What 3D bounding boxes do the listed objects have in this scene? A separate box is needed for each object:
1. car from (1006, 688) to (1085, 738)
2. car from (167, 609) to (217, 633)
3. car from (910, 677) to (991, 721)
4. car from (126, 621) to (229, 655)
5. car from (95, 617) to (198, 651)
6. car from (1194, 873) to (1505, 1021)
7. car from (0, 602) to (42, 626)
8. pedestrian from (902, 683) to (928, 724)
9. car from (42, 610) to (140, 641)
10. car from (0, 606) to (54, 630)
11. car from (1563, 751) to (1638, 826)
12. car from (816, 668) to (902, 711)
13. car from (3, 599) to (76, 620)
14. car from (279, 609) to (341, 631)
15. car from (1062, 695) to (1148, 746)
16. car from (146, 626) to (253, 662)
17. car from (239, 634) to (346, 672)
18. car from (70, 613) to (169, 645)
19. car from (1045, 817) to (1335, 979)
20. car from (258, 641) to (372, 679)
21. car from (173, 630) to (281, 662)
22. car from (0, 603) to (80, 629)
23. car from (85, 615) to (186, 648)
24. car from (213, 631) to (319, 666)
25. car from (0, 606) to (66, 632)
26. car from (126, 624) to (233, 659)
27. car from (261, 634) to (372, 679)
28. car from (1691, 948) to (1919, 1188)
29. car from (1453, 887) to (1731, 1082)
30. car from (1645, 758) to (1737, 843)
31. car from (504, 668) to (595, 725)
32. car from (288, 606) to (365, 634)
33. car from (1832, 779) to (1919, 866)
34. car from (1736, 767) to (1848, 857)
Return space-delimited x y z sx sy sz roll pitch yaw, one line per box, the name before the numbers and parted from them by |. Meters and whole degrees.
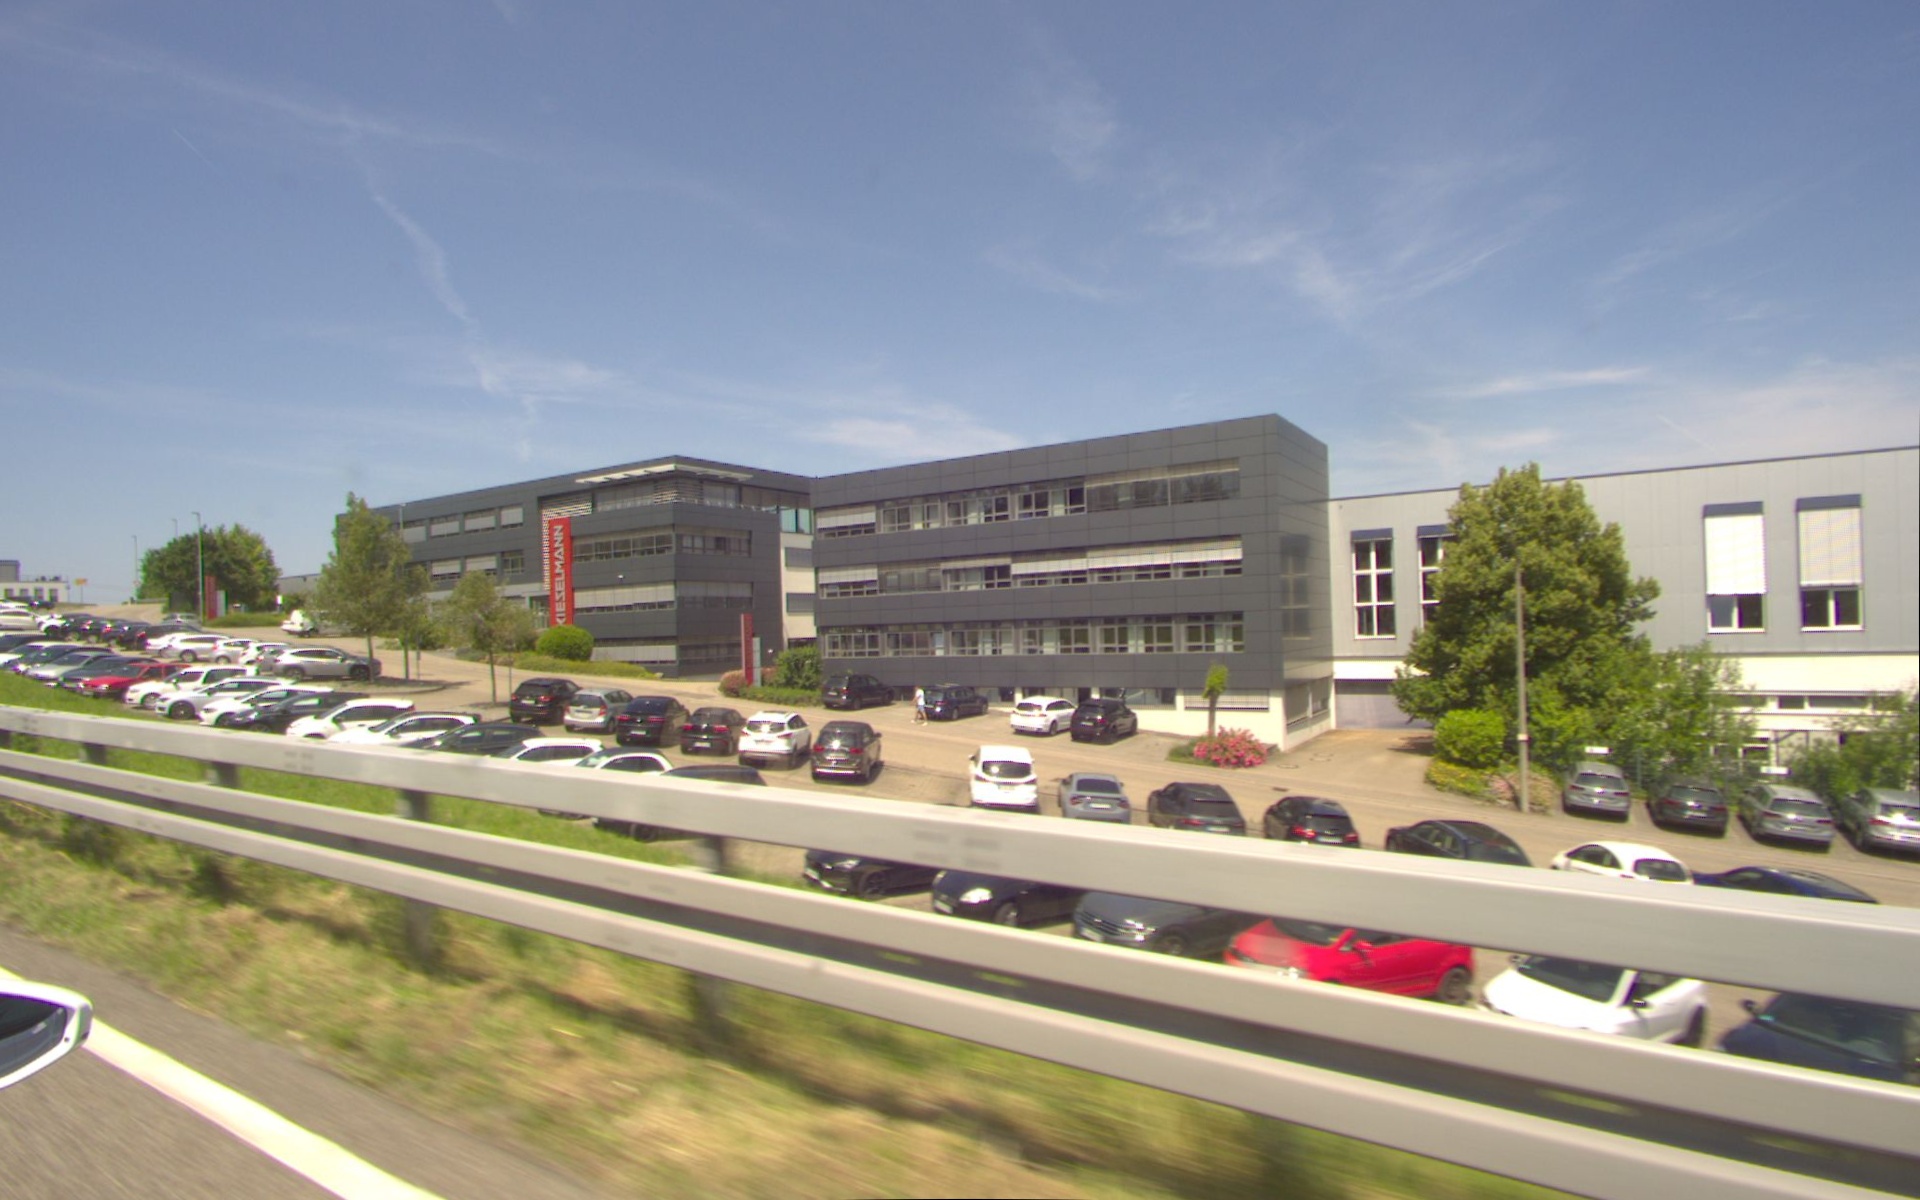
car | 3.827 4.907 44.058 1.792 1.593 4.568 3 1 28
car | -57.487 1.603 74.913 3.946 1.682 1.803 -1 -3 35
car | -0.401 4.608 47.117 1.792 1.593 4.568 3 1 28
car | -46.903 2.306 60.171 4.526 1.648 1.811 7 -4 -30
car | -49.816 2.094 61.444 4.526 1.648 1.811 7 -4 -30
car | 6.091 5.300 15.674 4.343 1.577 1.980 6 -4 -23
car | -72.916 0.996 75.951 4.533 1.649 1.807 5 -2 -36
pedestrian | -1.968 4.575 44.266 0.816 1.744 0.631 2 -4 34
car | -57.587 1.725 66.458 4.526 1.648 1.811 7 -4 -30
car | -70.375 1.323 74.261 4.531 1.650 1.808 2 -1 -36
car | 20.787 6.048 32.644 1.793 1.593 4.566 2 0 30
car | -4.895 4.330 49.207 1.793 1.670 4.564 3 1 31
car | -84.143 0.869 91.574 4.512 1.649 1.816 2 -3 -22
car | -50.258 1.548 77.500 1.660 1.609 3.653 2 0 34
car | 6.233 5.054 42.506 1.795 1.593 4.561 3 1 34
car | -42.985 2.483 56.743 4.526 1.648 1.811 7 -4 -30
car | -34.703 2.763 52.200 4.525 1.651 1.808 3 3 -32
car | -54.406 1.909 64.939 4.526 1.648 1.811 7 -4 -30
car | 4.003 4.953 17.226 4.665 2.037 2.068 7 -4 -31
car | -30.862 2.852 48.064 4.524 1.651 1.809 2 2 -32
car | -40.211 2.518 55.084 4.517 1.541 1.811 2 2 -26
car | -65.627 1.159 71.067 4.532 1.649 1.808 4 -3 -36
car | -52.092 2.005 63.372 4.526 1.648 1.811 7 -4 -30
car | -37.212 2.571 53.824 4.522 1.499 1.809 -1 4 -32
car | -67.823 1.346 72.387 4.533 1.649 1.808 5 -3 -36
car | -45.292 2.437 58.232 4.526 1.648 1.811 7 -4 -30
car | -32.321 2.875 50.474 4.528 1.650 1.808 7 4 -31
car | 11.003 5.600 12.499 4.362 1.561 1.777 7 -5 -36
car | 9.185 5.336 14.427 4.362 1.682 1.886 7 -5 -36
car | 22.722 6.167 31.296 1.793 1.594 4.564 2 2 30
car | -16.343 3.824 40.119 1.785 1.650 4.239 4 1 1
car | -47.525 1.467 75.233 1.795 1.976 4.561 2 0 34
car | 27.064 6.428 29.034 1.883 1.594 4.030 2 2 30
car | 24.864 6.257 30.103 1.793 1.594 4.564 2 2 30
